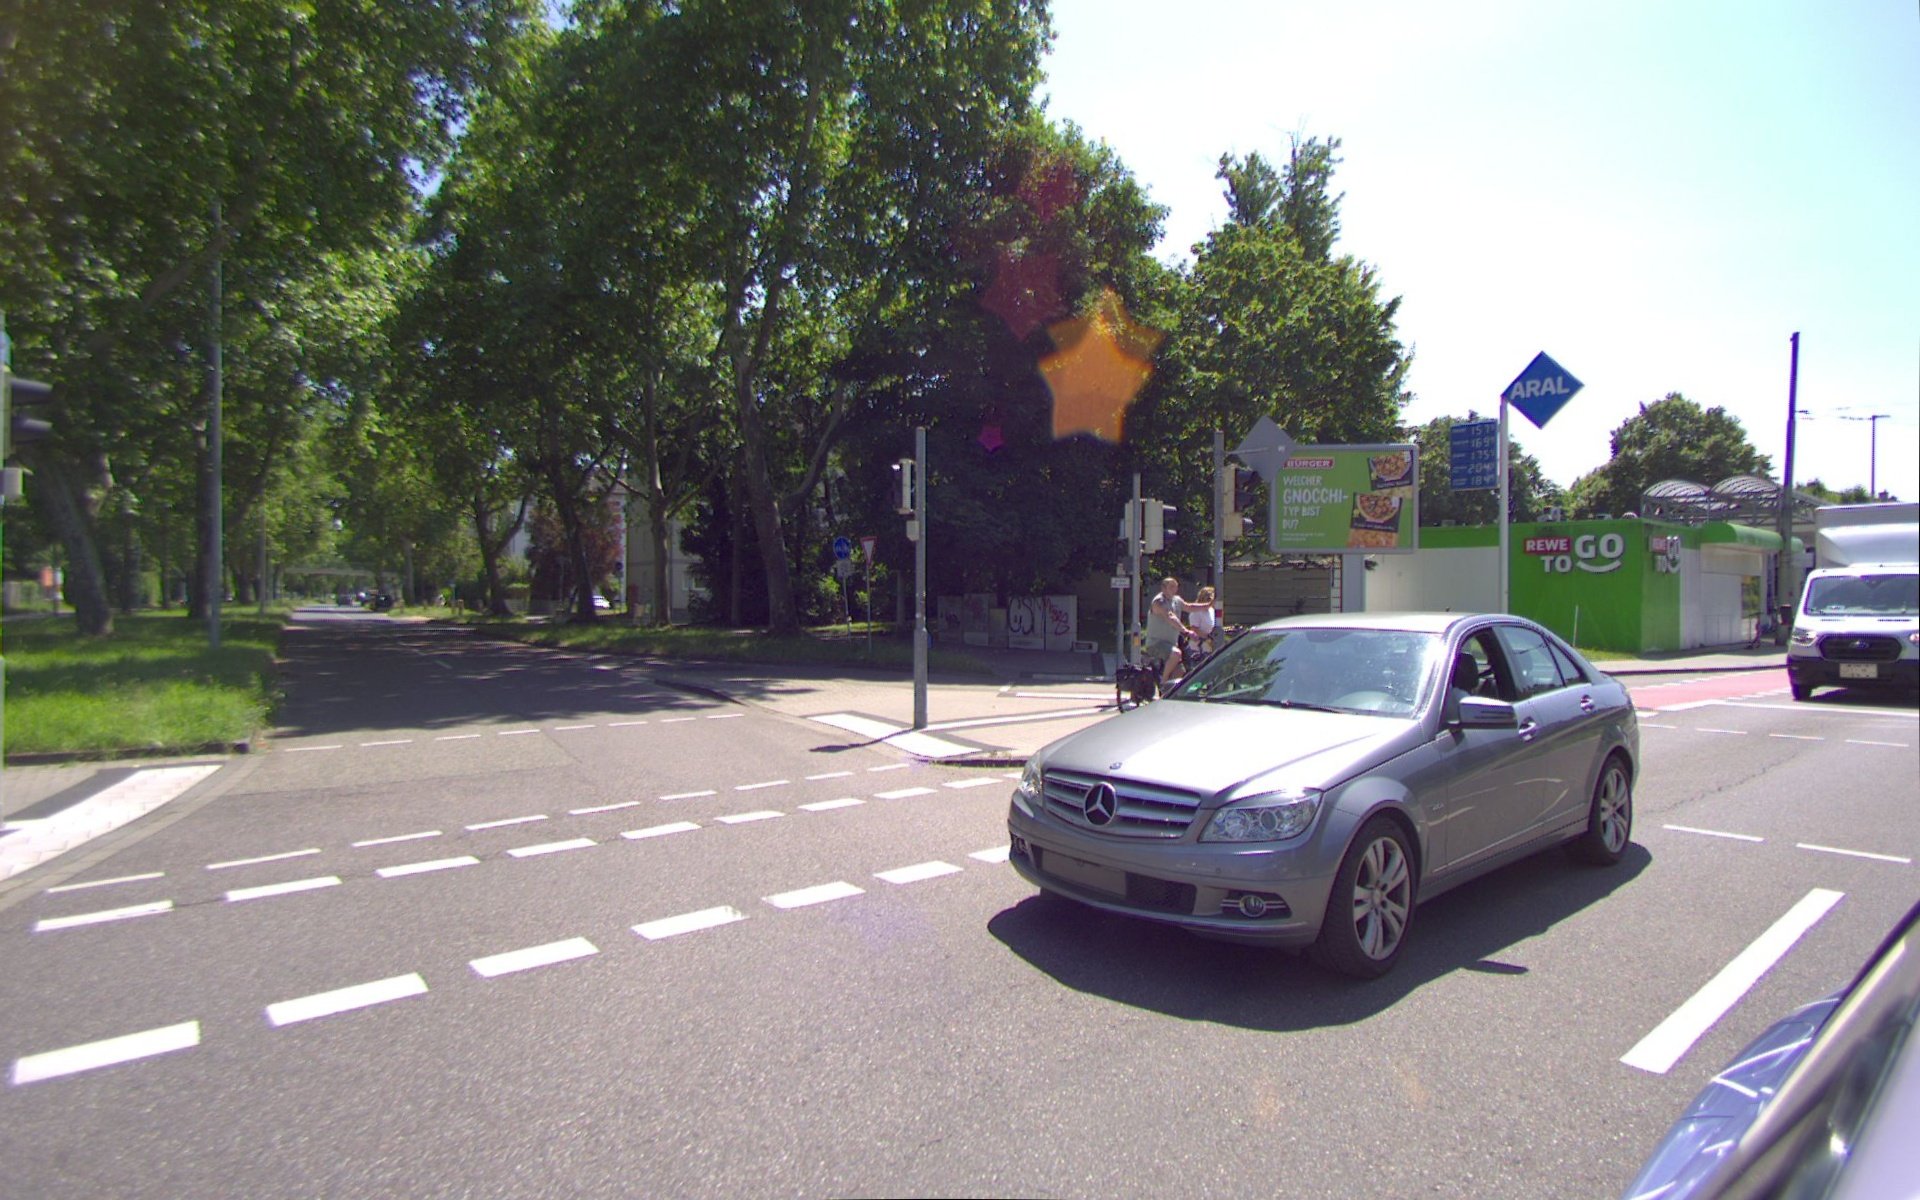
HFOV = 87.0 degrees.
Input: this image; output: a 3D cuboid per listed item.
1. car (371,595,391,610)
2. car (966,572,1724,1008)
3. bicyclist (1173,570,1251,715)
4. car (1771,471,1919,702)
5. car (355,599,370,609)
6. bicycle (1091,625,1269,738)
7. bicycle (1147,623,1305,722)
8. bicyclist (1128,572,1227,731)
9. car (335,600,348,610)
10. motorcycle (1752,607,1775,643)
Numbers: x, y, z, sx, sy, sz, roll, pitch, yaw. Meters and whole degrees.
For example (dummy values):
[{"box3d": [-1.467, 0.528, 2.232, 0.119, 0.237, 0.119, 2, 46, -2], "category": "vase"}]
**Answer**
[{"box3d": [-59.736, 0.306, 104.413, 1.673, 1.464, 3.388, -1, -1, -28], "category": "car"}, {"box3d": [2.577, 0.687, 5.817, 5.207, 1.492, 1.716, 0, -2, -40], "category": "car"}, {"box3d": [3.258, 0.537, 13.096, 0.753, 1.811, 0.579, 0, -2, -32], "category": "bicyclist"}, {"box3d": [16.978, -0.189, 17.950, 8.479, 3.378, 2.228, 0, -1, -39], "category": "car"}, {"box3d": [-85.598, 0.582, 144.978, 1.673, 1.464, 3.389, -1, 0, -28], "category": "car"}, {"box3d": [2.582, 0.913, 12.088, 0.879, 1.174, 1.954, 0, 0, -39], "category": "bicycle"}, {"box3d": [3.386, 0.888, 13.064, 0.877, 1.139, 1.874, 0, 0, -32], "category": "bicycle"}, {"box3d": [2.623, 0.585, 12.179, 0.959, 1.810, 0.725, 0, 0, -40], "category": "bicyclist"}, {"box3d": [-92.328, 0.685, 151.187, 1.461, 1.464, 3.356, -1, 0, -28], "category": "car"}, {"box3d": [26.117, 0.797, 32.895, 1.098, 1.118, 0.253, -1, 6, -40], "category": "motorcycle"}]
